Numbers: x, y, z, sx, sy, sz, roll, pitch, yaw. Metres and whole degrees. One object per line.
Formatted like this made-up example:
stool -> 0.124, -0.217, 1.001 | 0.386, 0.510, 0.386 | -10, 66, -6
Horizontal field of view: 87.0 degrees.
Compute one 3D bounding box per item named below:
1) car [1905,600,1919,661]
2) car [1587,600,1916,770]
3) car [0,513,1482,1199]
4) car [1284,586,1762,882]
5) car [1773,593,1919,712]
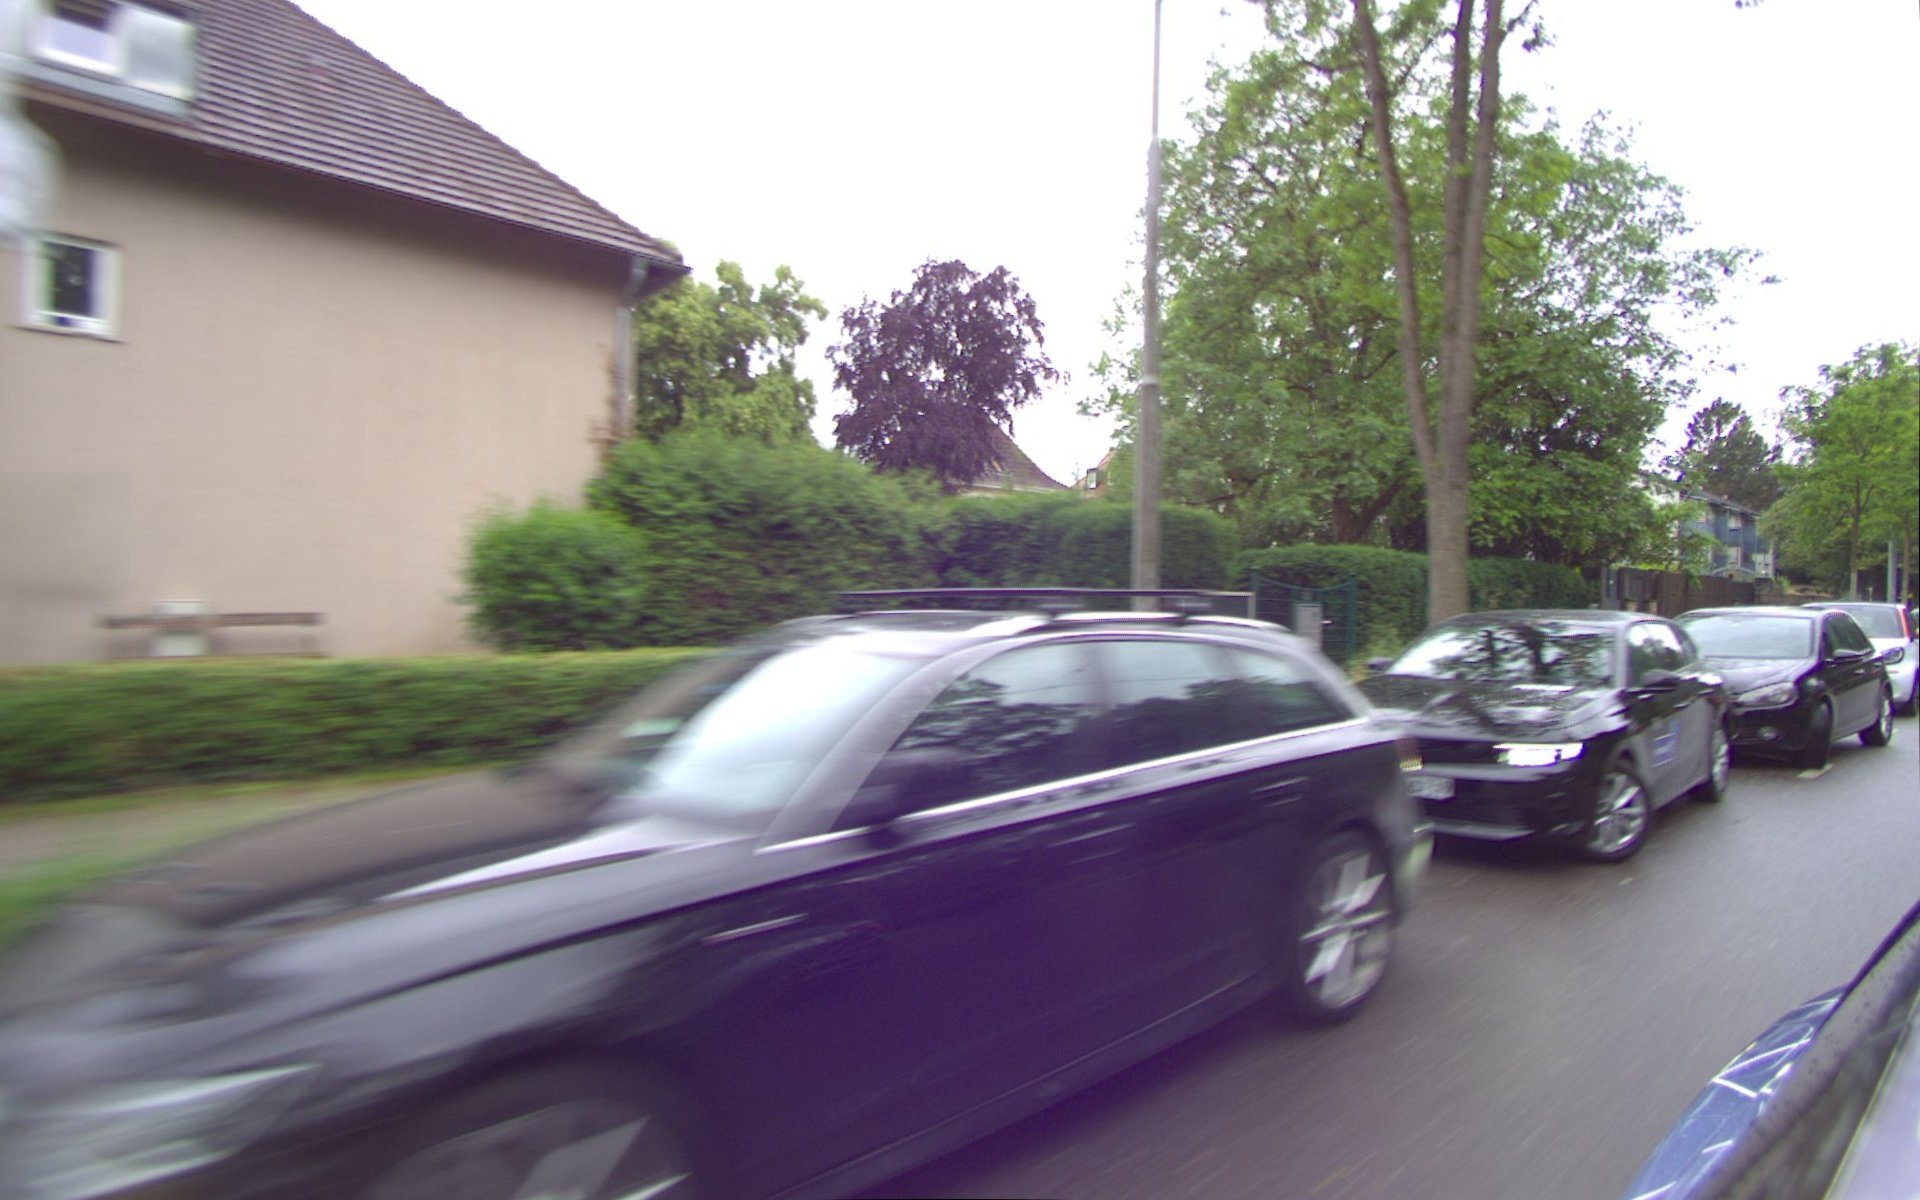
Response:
car -> 24.679, 0.724, 24.937 | 3.635, 1.447, 1.673 | 0, 0, -41
car -> 8.229, 0.730, 10.416 | 3.926, 1.428, 1.733 | 0, -1, -38
car -> -0.226, 0.677, 3.304 | 4.737, 1.546, 1.756 | 0, -1, -40
car -> 4.178, 0.688, 7.159 | 4.334, 1.487, 1.619 | 0, -1, -42
car -> 13.010, 0.685, 14.542 | 2.752, 1.536, 1.600 | 0, 0, -41
